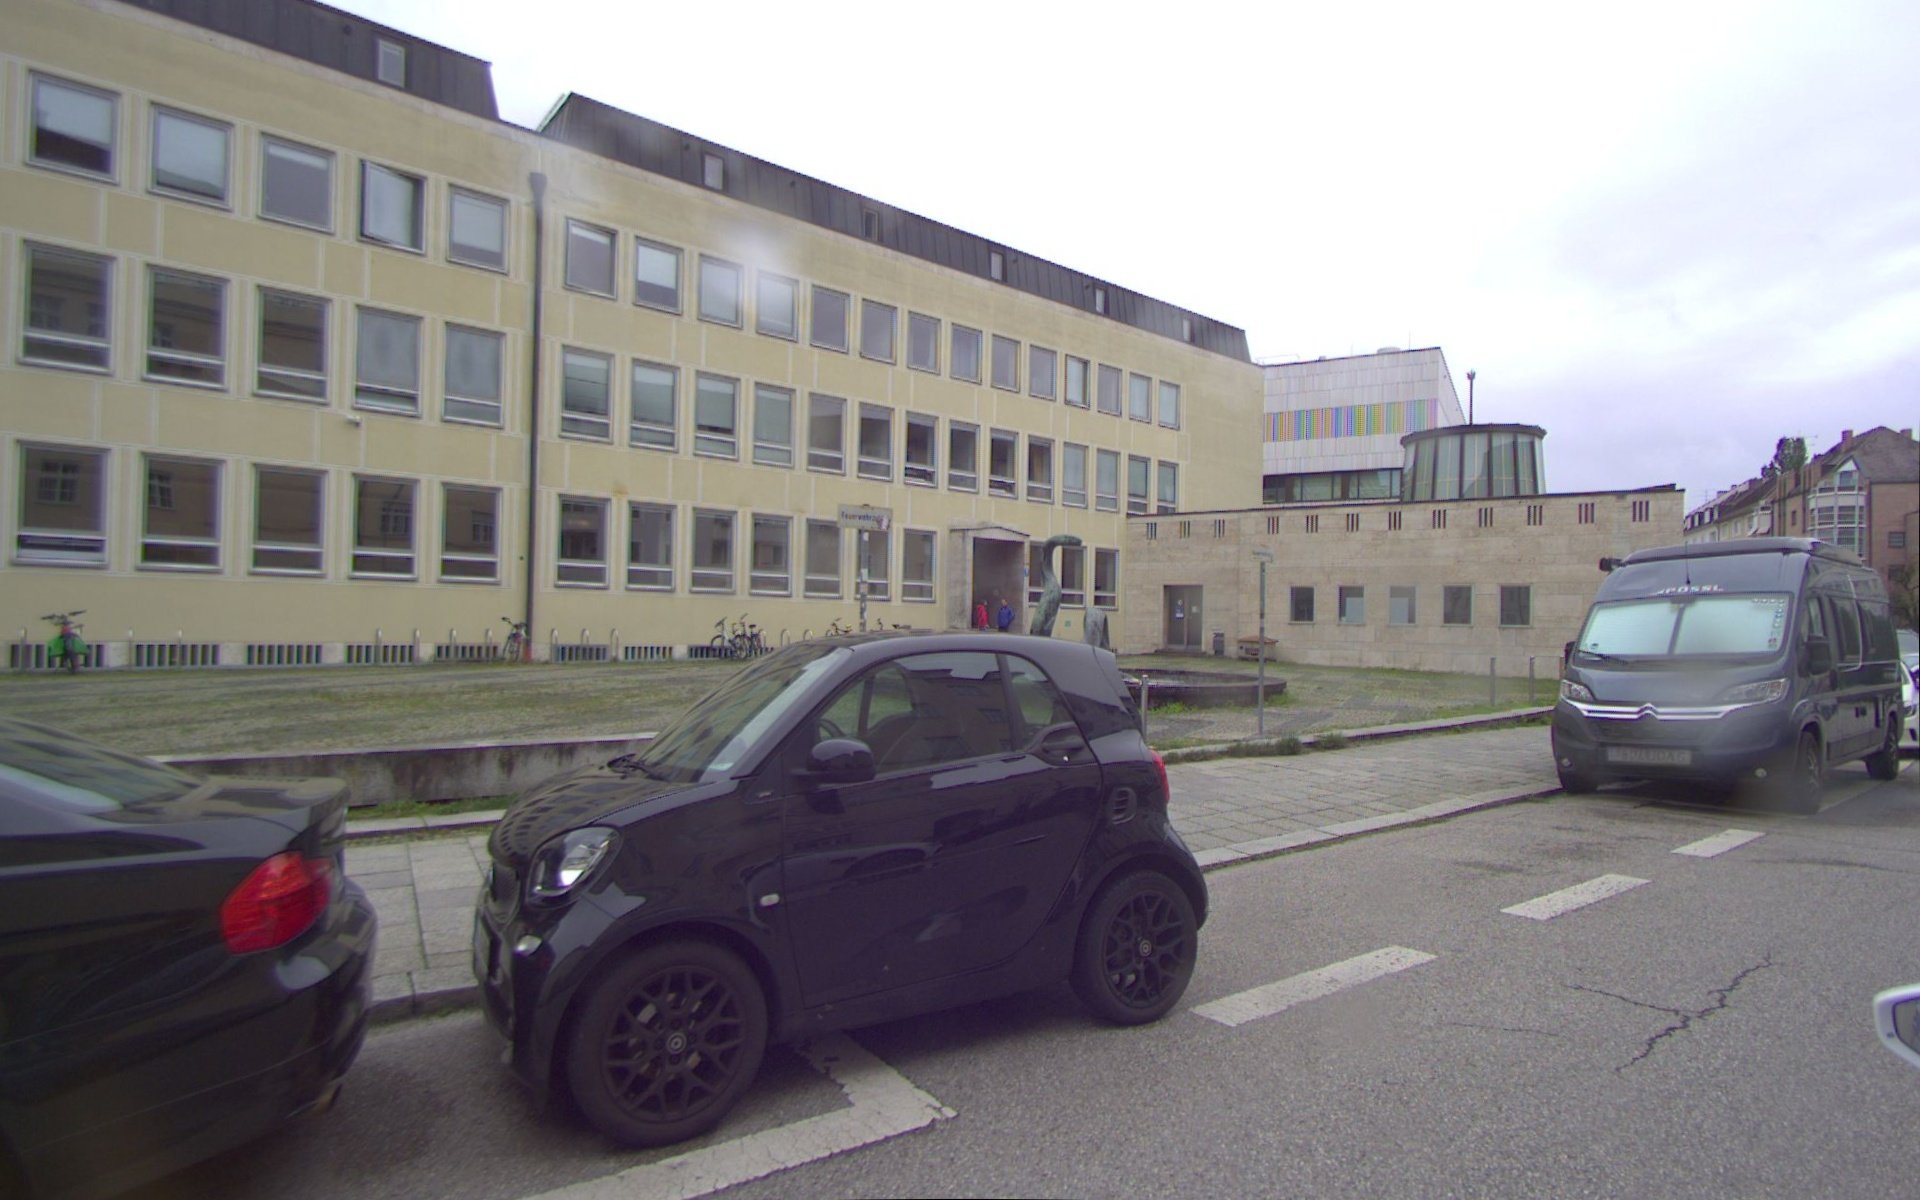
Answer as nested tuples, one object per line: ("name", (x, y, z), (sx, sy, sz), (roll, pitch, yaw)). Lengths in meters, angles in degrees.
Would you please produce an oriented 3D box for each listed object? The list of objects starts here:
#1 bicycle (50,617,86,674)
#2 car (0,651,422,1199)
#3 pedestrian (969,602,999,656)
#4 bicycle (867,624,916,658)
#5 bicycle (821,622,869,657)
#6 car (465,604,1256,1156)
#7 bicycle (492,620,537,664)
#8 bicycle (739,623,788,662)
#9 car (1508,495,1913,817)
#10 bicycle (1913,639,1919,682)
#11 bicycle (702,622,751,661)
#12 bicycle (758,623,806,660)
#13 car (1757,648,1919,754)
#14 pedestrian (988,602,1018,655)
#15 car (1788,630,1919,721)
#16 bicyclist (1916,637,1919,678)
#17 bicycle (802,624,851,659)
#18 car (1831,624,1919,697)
("bicycle", (-16.362, 0.811, 18.447), (0.434, 0.929, 1.884), (2, 0, -40))
("car", (-3.540, 0.793, 2.097), (4.165, 1.381, 1.713), (3, -4, -31))
("pedestrian", (0.802, 0.963, 33.464), (0.642, 1.767, 0.707), (2, 0, -44))
("bicycle", (-2.106, 1.255, 30.732), (0.434, 0.929, 1.884), (2, 0, -40))
("bicycle", (-3.451, 1.181, 30.027), (0.434, 0.929, 1.884), (2, 0, -40))
("car", (-0.405, 0.846, 4.171), (2.835, 1.478, 1.659), (2, -4, -30))
("bicycle", (-10.644, 0.989, 23.984), (0.434, 0.929, 1.884), (2, 0, -40))
("bicycle", (-5.461, 1.161, 27.829), (0.527, 0.953, 1.864), (2, 0, -37))
("car", (8.393, 0.583, 10.935), (6.160, 2.608, 2.127), (2, -3, -40))
("bicycle", (41.866, 2.599, 43.456), (0.786, 1.745, 3.098), (-3, -3, 42))
("bicycle", (-6.347, 1.115, 27.266), (0.434, 0.929, 1.884), (2, 0, -40))
("bicycle", (-5.056, 1.163, 28.471), (0.434, 0.929, 1.884), (2, 0, -40))
("car", (13.706, 1.465, 15.361), (4.114, 1.405, 1.810), (2, -5, -44))
("pedestrian", (1.439, 0.962, 34.006), (0.642, 1.767, 0.707), (2, 0, -44))
("car", (18.245, 1.455, 18.744), (3.903, 1.550, 1.676), (2, 0, 15))
("bicyclist", (41.740, 2.484, 43.313), (0.740, 1.740, 1.026), (-1, -1, 43))
("bicycle", (-3.928, 1.212, 29.496), (0.434, 0.929, 1.884), (2, 0, -40))
("car", (25.178, 1.593, 27.320), (1.969, 1.795, 4.795), (0, -1, 38))
